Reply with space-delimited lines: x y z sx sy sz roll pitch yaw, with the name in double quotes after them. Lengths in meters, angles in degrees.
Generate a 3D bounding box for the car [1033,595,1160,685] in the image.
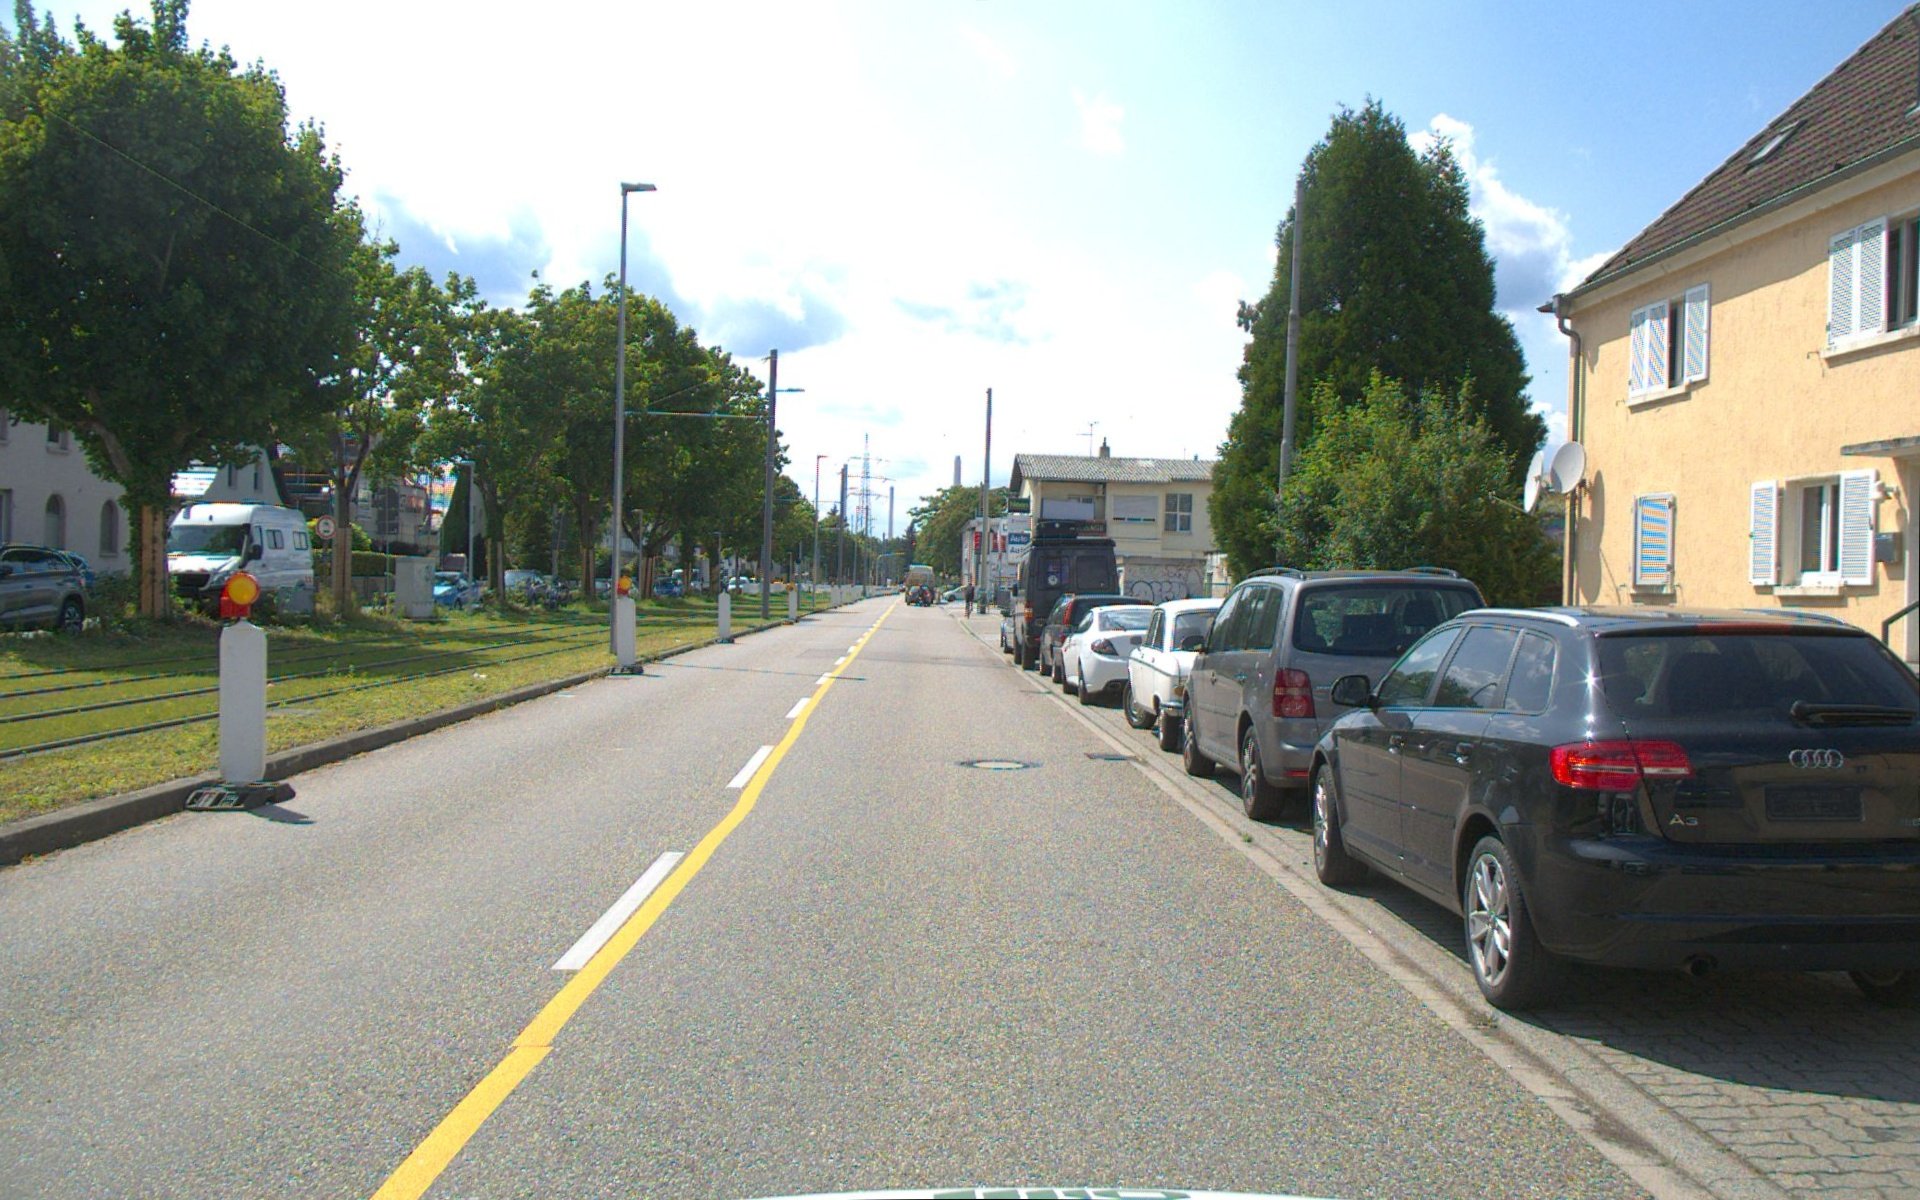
2.300 0.640 28.953 1.686 1.426 4.835 1 0 -1 "car"

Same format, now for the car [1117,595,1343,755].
2.660 0.684 17.116 1.616 1.443 4.025 1 0 -1 "car"

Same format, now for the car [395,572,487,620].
-16.785 -0.125 53.664 1.718 1.461 3.889 1 0 0 "car"

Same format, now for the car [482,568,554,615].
-17.215 -0.313 64.605 1.954 1.720 4.387 1 0 -5 "car"

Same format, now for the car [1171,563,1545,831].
2.762 0.602 12.465 1.645 1.658 4.269 1 0 -2 "car"

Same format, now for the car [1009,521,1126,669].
2.143 -0.104 34.238 1.955 2.809 4.877 1 0 -1 "car"

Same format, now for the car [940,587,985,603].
0.216 -0.491 165.374 4.251 1.579 1.945 1 0 -10 "car"

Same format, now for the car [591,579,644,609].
-17.817 -0.298 86.182 1.768 1.508 4.938 1 0 -1 "car"

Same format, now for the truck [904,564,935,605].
-3.451 -1.406 144.130 2.557 3.312 9.181 1 1 -1 "truck"

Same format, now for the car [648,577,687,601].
-18.334 -0.671 103.780 1.954 1.478 3.997 1 0 -3 "car"

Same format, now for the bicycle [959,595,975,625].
0.320 0.485 80.862 0.679 1.385 2.418 1 0 -2 "bicycle"

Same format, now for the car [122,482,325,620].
-16.261 -1.036 36.956 1.954 2.778 6.458 1 0 -3 "car"

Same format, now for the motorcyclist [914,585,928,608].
-2.911 -0.273 123.156 0.920 1.643 1.204 4 0 -2 "motorcyclist"

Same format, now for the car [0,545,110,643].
-16.069 -0.103 27.171 1.953 1.532 4.485 1 0 -1 "car"

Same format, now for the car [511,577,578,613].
-17.640 -0.190 70.337 1.953 1.464 3.998 0 0 -2 "car"

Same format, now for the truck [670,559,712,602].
-18.620 -1.368 114.670 1.953 2.816 6.274 -1 1 -2 "truck"

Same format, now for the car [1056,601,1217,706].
2.411 0.698 23.493 1.686 1.318 4.127 1 0 -2 "car"

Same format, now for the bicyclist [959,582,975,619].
0.338 0.027 80.804 0.658 1.774 0.813 2 0 -2 "bicyclist"

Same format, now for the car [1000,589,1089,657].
2.011 0.530 40.376 1.658 1.543 4.352 1 0 -4 "car"

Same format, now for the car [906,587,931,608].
-3.208 -0.208 127.803 1.785 1.449 3.999 2 0 -2 "car"

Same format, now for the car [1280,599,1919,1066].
2.763 0.755 7.480 1.651 1.462 4.515 0 -1 -2 "car"

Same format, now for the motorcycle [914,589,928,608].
-2.928 -0.118 123.336 0.920 1.343 2.644 4 0 -2 "motorcycle"
